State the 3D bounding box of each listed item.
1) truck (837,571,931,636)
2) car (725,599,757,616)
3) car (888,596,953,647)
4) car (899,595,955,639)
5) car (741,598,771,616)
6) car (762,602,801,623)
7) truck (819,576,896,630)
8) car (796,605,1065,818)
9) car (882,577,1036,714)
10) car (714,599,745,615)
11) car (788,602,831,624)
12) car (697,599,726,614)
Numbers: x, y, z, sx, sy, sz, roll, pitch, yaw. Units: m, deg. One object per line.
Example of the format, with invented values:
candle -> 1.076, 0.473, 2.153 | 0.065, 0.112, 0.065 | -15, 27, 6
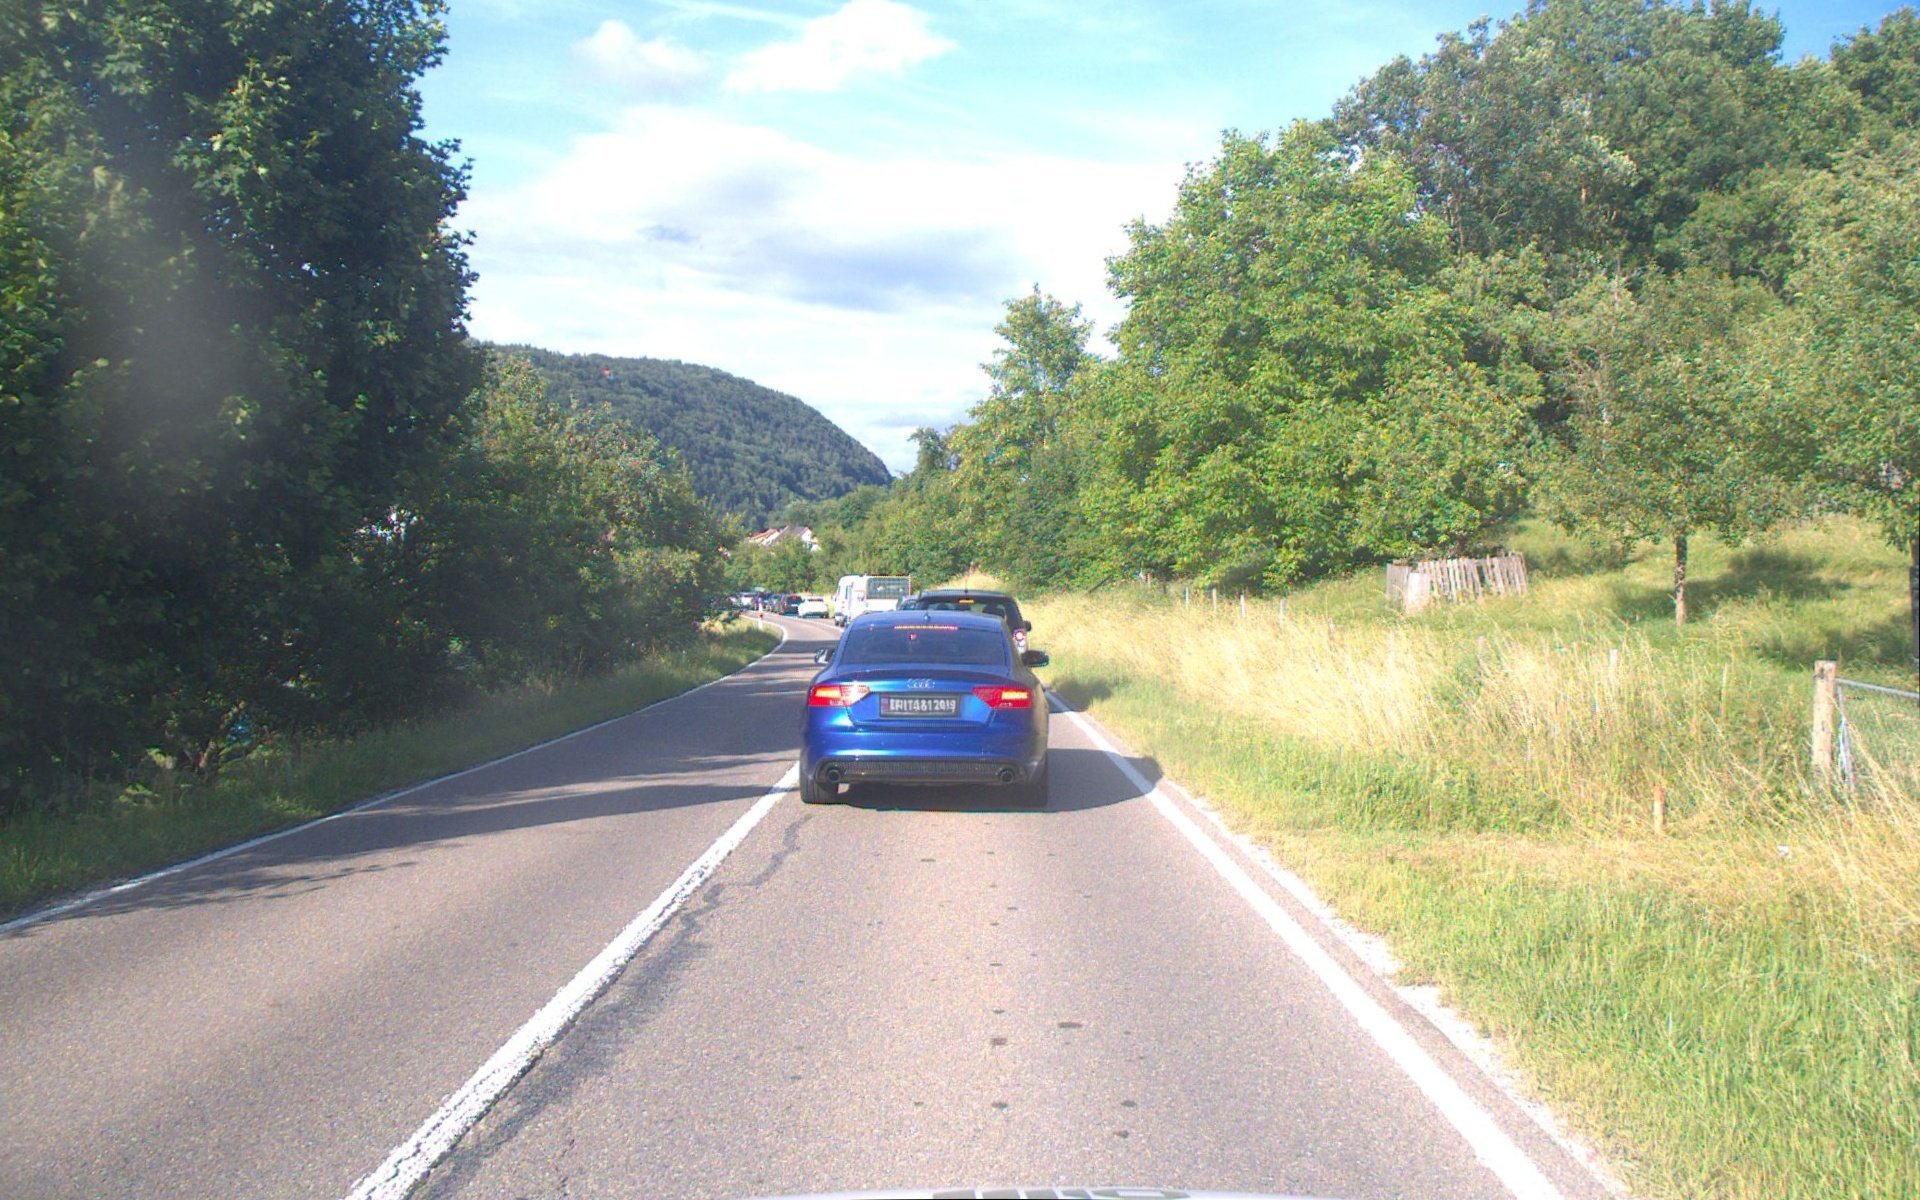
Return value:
truck -> -3.618, 0.152, 75.490 | 2.813, 2.712, 10.365 | 1, 0, -11
car -> -20.163, 0.660, 152.348 | 1.966, 1.508, 3.973 | 1, -1, -22
car -> -1.193, 0.653, 51.568 | 1.953, 1.508, 3.999 | 1, -1, 0
car -> -1.168, 0.626, 59.823 | 1.953, 1.508, 3.999 | 1, -1, 0
car -> -17.710, 0.614, 143.708 | 1.961, 1.508, 3.982 | 1, -1, -16
car -> -13.261, 0.909, 122.705 | 1.964, 1.508, 3.976 | 1, -1, -20
truck -> -5.664, 0.170, 89.347 | 2.813, 2.712, 10.616 | 1, 0, -11
car -> -0.166, 0.749, 12.915 | 1.757, 1.383, 4.000 | 1, 0, 1
car -> -0.021, 0.597, 23.215 | 1.953, 1.732, 3.999 | 1, -1, 0
car -> -22.151, 0.662, 158.750 | 1.966, 1.508, 3.973 | 1, -1, -22
car -> -10.324, 0.881, 113.480 | 1.964, 1.508, 3.976 | 1, -1, -20
car -> -25.126, 0.642, 167.021 | 1.966, 1.508, 3.973 | 1, -1, -22
